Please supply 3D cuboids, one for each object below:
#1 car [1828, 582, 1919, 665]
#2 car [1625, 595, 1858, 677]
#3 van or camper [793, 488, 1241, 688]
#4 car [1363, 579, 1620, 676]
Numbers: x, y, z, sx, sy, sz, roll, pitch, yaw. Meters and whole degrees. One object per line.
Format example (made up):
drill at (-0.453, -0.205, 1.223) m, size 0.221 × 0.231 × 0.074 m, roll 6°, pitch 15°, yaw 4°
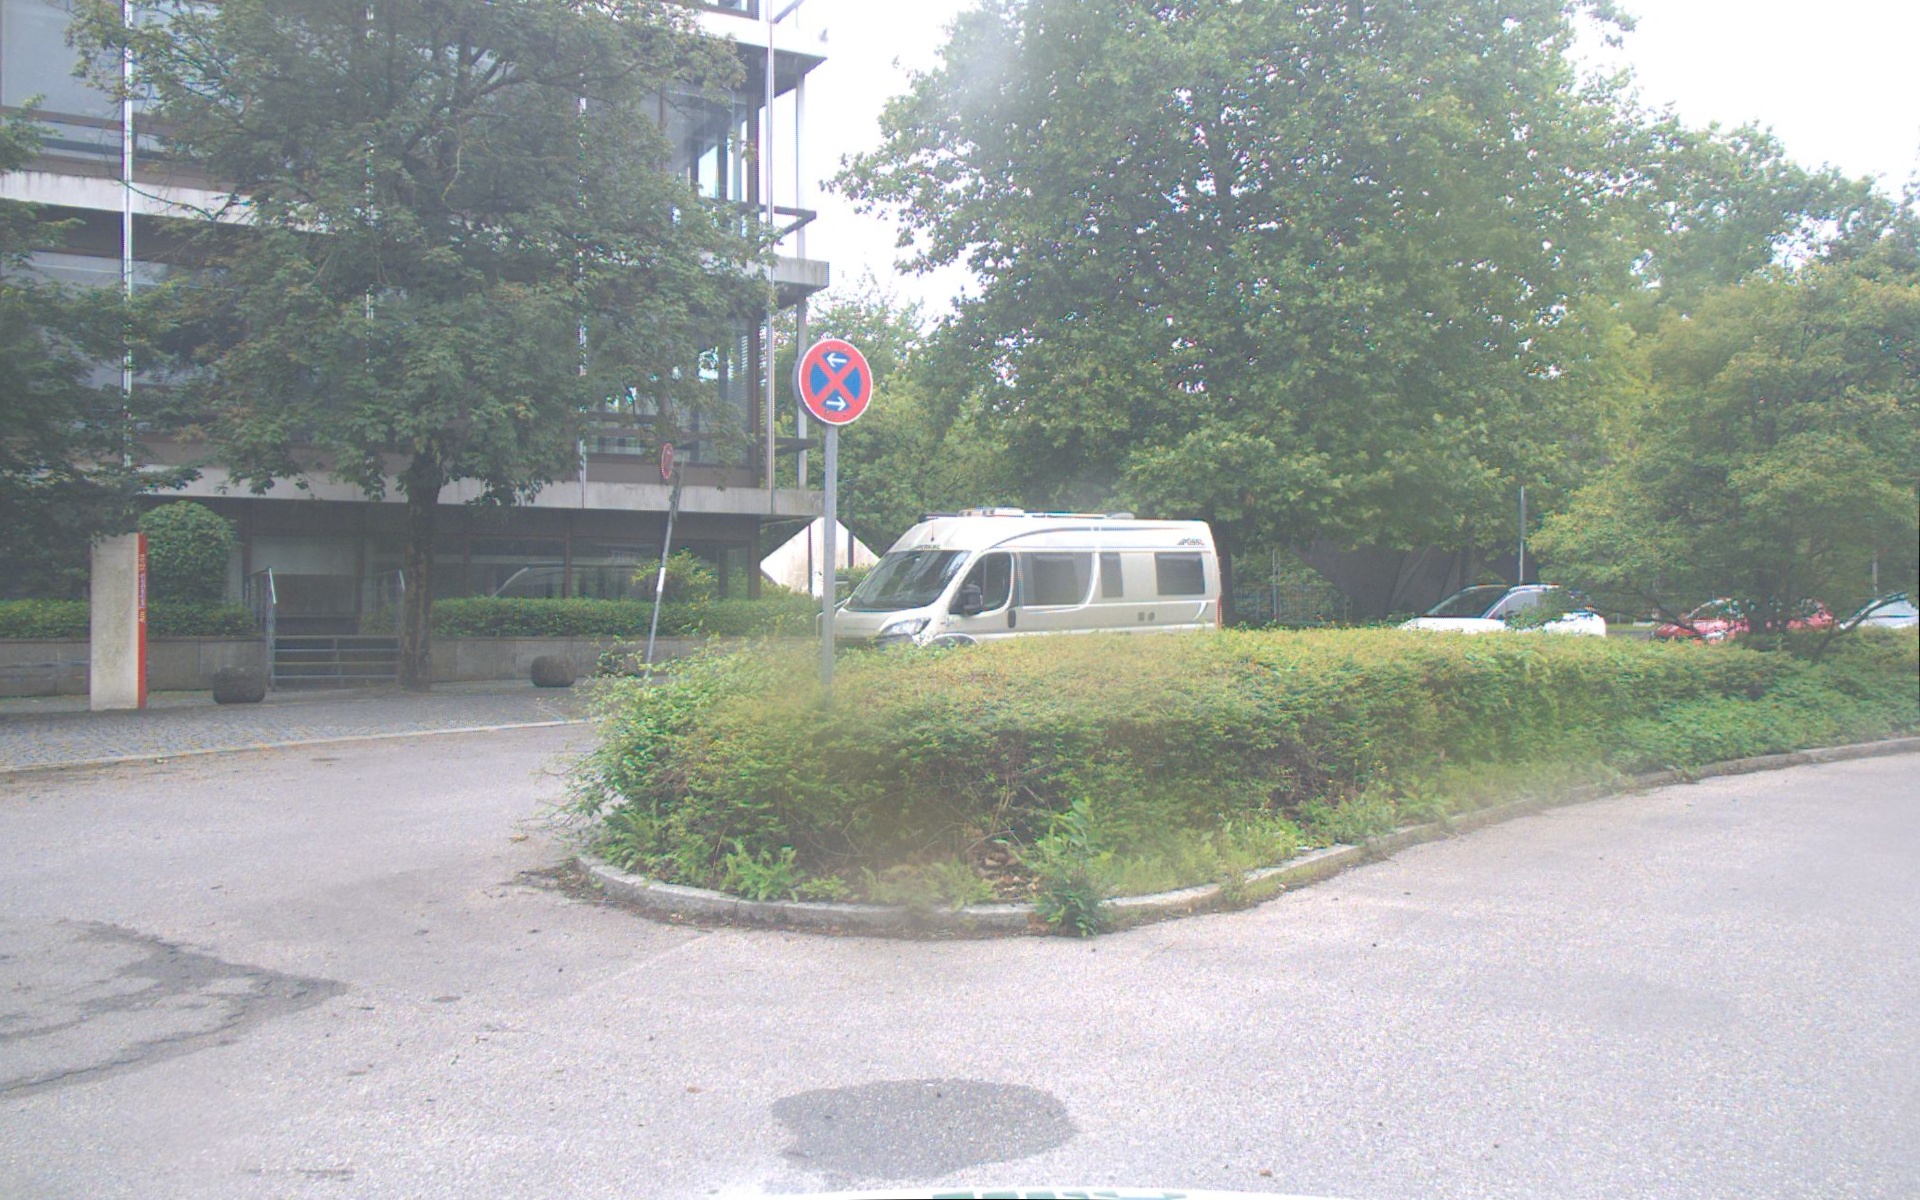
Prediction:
car at (19.789, 0.456, 33.585) m, size 3.941 × 1.602 × 1.982 m, roll 0°, pitch 0°, yaw -28°
car at (14.554, 0.637, 30.806) m, size 3.941 × 1.434 × 1.982 m, roll 0°, pitch 0°, yaw -28°
van or camper at (0.955, -0.129, 22.233) m, size 6.367 × 2.321 × 2.219 m, roll 0°, pitch -1°, yaw -43°
car at (8.977, 0.434, 27.921) m, size 3.941 × 1.534 × 1.982 m, roll 0°, pitch 0°, yaw -28°
